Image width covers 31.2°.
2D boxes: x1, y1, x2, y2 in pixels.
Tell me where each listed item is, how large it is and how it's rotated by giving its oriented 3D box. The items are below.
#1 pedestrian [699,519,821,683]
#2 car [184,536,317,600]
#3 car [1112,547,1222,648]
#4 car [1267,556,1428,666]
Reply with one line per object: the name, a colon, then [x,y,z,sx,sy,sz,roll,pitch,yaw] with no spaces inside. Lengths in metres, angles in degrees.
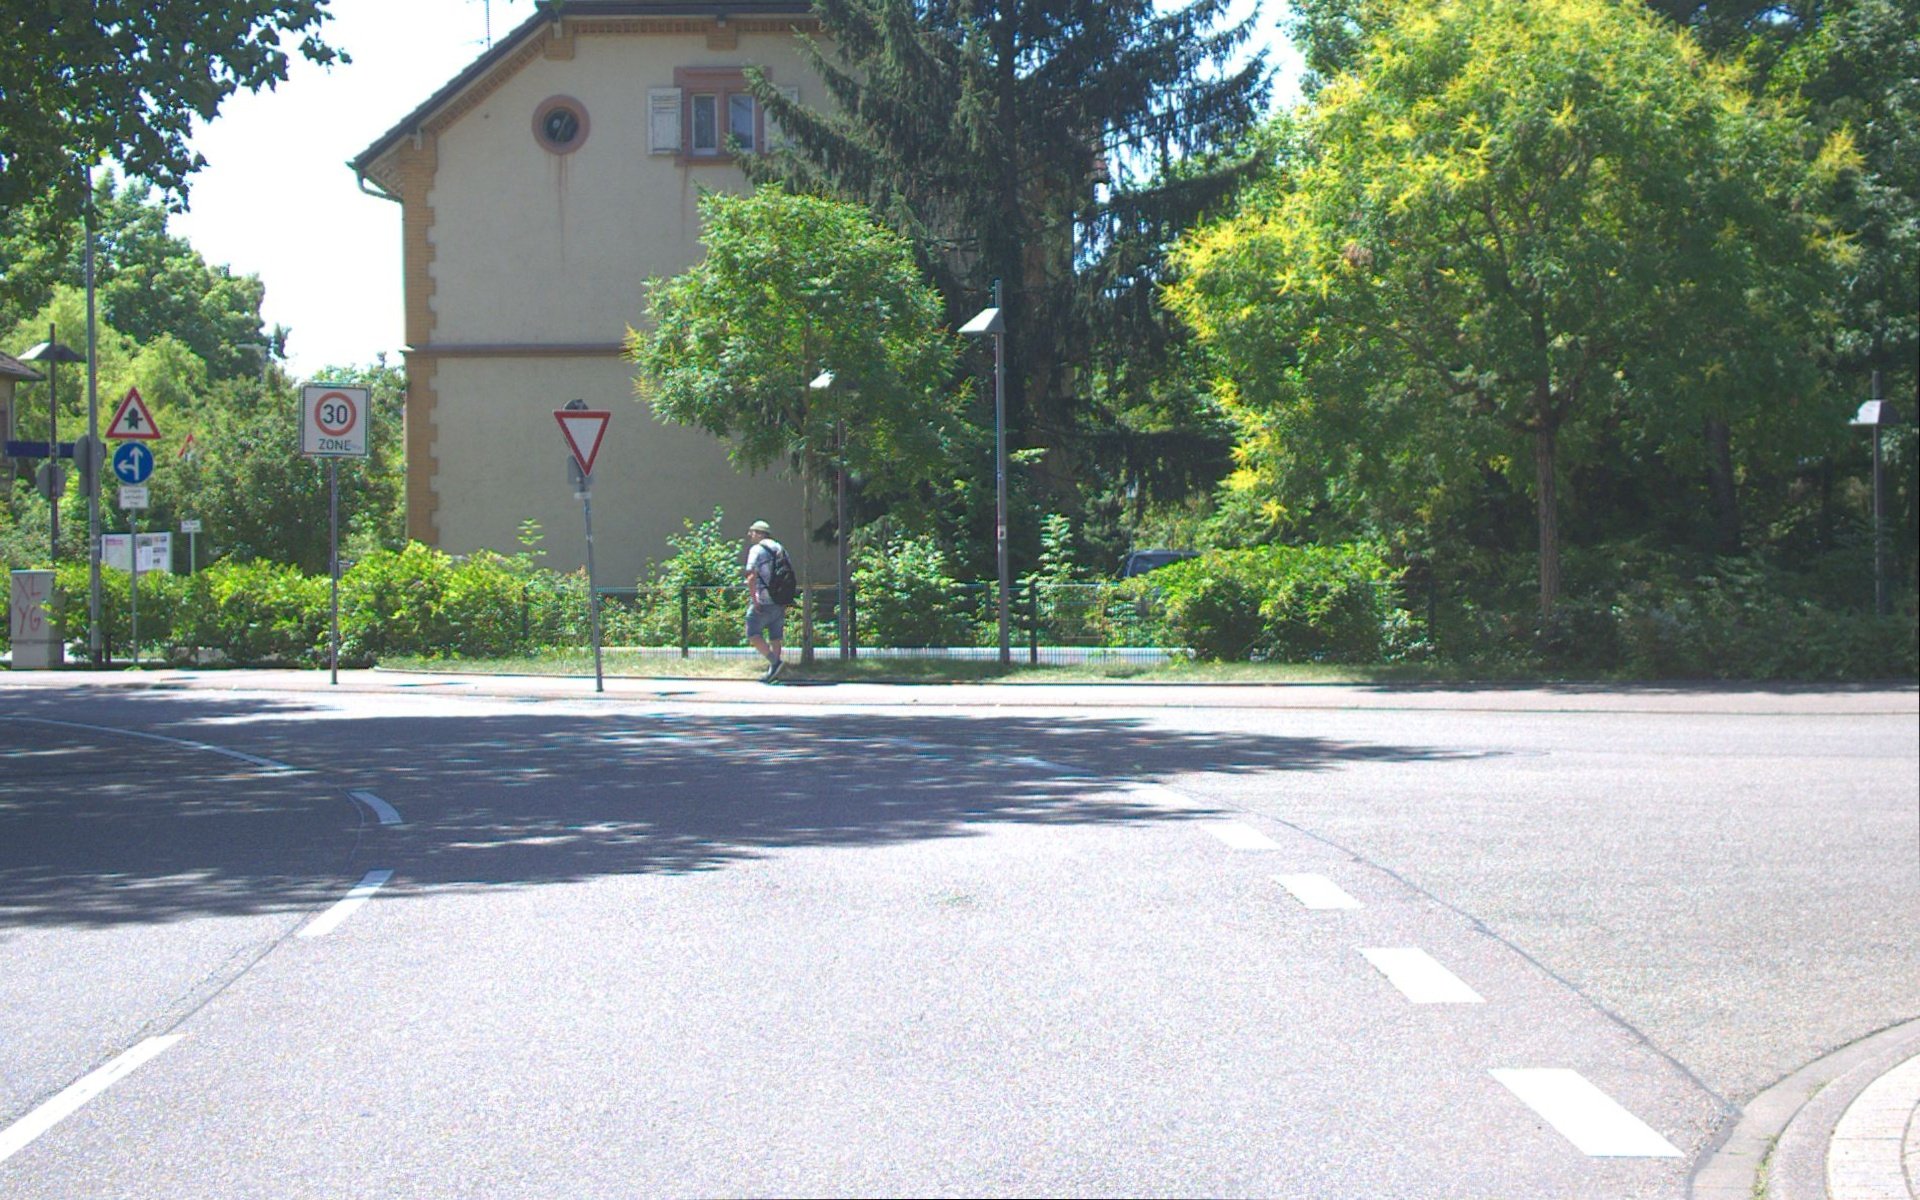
pedestrian: [-2.246,-0.002,38.640,0.912,1.765,0.915,-5,4,-40]
car: [-26.472,-1.213,128.390,4.444,2.314,2.202,-1,1,2]
car: [3.266,-0.064,54.179,1.650,1.531,3.969,0,1,3]
car: [5.541,0.120,49.649,1.764,1.494,4.500,-1,1,0]
